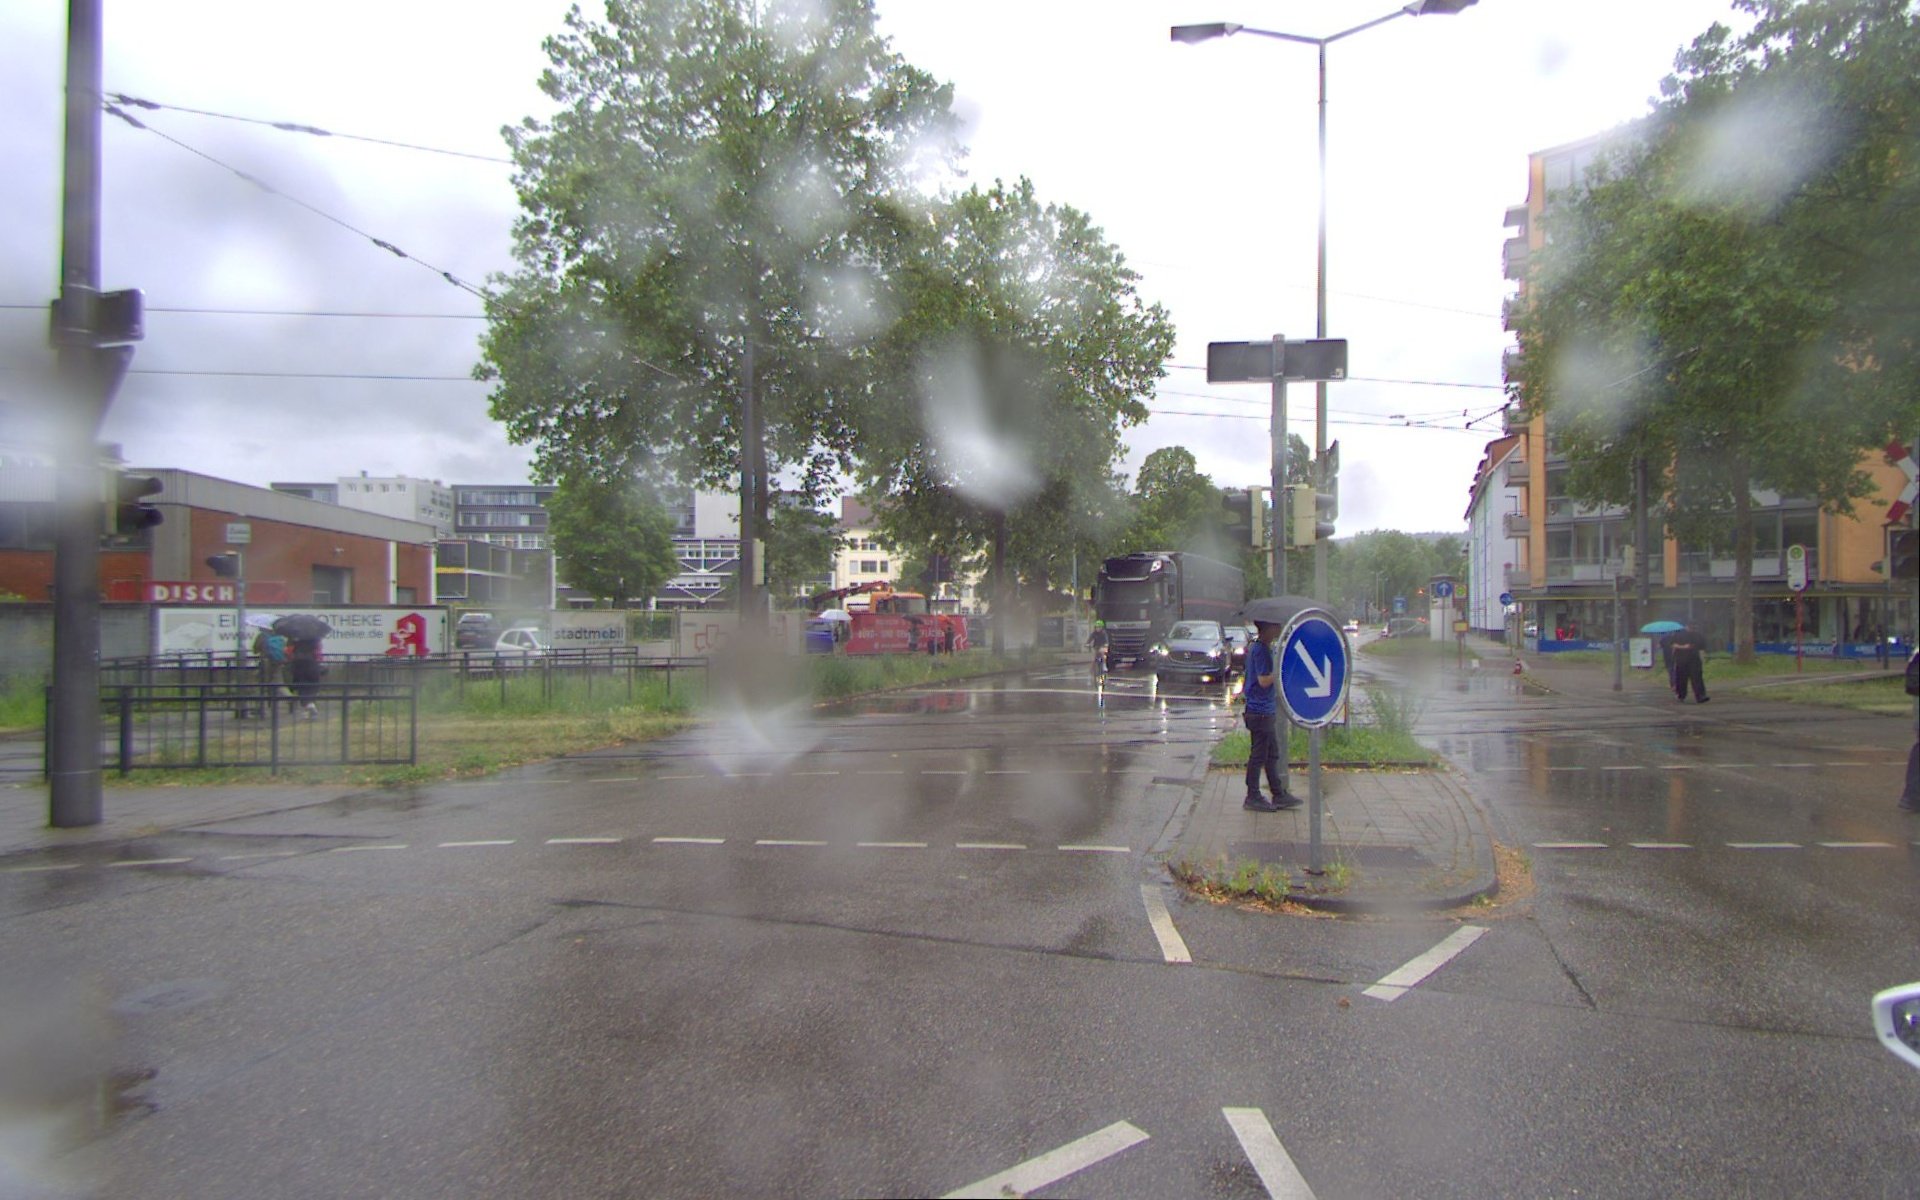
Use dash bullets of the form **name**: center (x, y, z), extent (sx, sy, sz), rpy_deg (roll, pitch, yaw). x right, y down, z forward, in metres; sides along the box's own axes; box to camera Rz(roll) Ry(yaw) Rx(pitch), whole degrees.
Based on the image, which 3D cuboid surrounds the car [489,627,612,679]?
- **car**: center (-11.984, 1.500, 29.331), extent (3.609, 1.339, 1.836), rpy_deg (0, -1, 39)

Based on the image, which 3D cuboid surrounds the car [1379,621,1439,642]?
- **car**: center (34.175, 2.413, 76.517), extent (4.123, 1.589, 1.888), rpy_deg (-1, -1, 23)

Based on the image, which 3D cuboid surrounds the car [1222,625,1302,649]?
- **car**: center (19.756, 2.398, 65.987), extent (2.063, 1.473, 4.885), rpy_deg (0, -1, -32)

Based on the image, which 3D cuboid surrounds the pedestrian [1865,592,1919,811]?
- **pedestrian**: center (8.359, 0.828, 8.333), extent (0.976, 1.805, 0.811), rpy_deg (-1, -1, -9)

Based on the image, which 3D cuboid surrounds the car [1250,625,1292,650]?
- **car**: center (18.671, 2.234, 60.208), extent (1.700, 1.379, 4.332), rpy_deg (-1, -1, 26)

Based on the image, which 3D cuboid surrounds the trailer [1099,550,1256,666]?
- **trailer**: center (9.825, 0.393, 43.205), extent (3.388, 4.102, 15.038), rpy_deg (-1, -1, 25)

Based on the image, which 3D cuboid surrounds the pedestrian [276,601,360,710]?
- **pedestrian**: center (-11.440, 0.971, 17.924), extent (0.937, 1.887, 0.849), rpy_deg (-1, -1, -2)

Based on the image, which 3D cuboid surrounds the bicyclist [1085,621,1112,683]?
- **bicyclist**: center (3.368, 1.247, 24.345), extent (0.569, 1.480, 1.012), rpy_deg (-1, -1, 12)

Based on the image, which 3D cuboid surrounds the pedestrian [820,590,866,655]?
- **pedestrian**: center (-3.618, 0.697, 31.104), extent (0.895, 1.990, 1.214), rpy_deg (-1, -1, 25)

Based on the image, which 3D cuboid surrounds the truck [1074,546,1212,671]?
- **truck**: center (6.896, 0.322, 36.854), extent (3.396, 4.133, 6.968), rpy_deg (0, -1, 25)

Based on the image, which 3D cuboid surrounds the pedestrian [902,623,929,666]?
- **pedestrian**: center (-1.606, 1.589, 36.197), extent (0.766, 1.535, 0.634), rpy_deg (0, -1, -43)

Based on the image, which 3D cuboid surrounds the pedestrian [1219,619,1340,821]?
- **pedestrian**: center (2.647, 0.972, 8.395), extent (0.846, 1.602, 0.643), rpy_deg (-1, -1, 8)

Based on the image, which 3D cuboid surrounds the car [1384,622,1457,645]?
- **car**: center (31.147, 2.261, 68.005), extent (4.462, 1.489, 1.982), rpy_deg (-1, -2, 25)

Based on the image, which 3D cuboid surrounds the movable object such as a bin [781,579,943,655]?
- **movable object such as a bin**: center (-4.187, 0.701, 42.288), extent (6.668, 2.969, 2.765), rpy_deg (0, -1, 36)

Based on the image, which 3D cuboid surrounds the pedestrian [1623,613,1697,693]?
- **pedestrian**: center (17.668, 1.316, 25.391), extent (1.151, 1.890, 1.385), rpy_deg (1, 2, 19)

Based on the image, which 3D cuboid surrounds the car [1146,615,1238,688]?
- **car**: center (6.721, 1.375, 28.690), extent (2.039, 1.705, 4.929), rpy_deg (2, 1, 19)

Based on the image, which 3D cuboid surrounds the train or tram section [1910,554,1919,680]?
- **train or tram section**: center (30.114, 0.486, 27.525), extent (8.250, 3.414, 2.634), rpy_deg (1, 0, -21)

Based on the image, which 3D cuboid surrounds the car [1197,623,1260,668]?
- **car**: center (9.354, 1.533, 34.830), extent (1.670, 1.391, 4.098), rpy_deg (0, -1, 21)

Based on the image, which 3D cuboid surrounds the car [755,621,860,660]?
- **car**: center (-5.734, 1.494, 37.655), extent (3.602, 1.339, 1.839), rpy_deg (0, -1, 33)

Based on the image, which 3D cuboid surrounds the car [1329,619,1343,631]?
- **car**: center (54.129, 3.624, 144.678), extent (1.746, 1.550, 4.000), rpy_deg (0, 1, 18)

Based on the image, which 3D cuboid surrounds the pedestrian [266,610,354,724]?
- **pedestrian**: center (-11.078, 1.125, 17.149), extent (0.937, 1.887, 0.849), rpy_deg (-1, -1, -2)

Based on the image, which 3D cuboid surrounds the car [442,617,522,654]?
- **car**: center (-24.394, 1.776, 51.480), extent (2.128, 1.764, 4.802), rpy_deg (0, -1, -5)

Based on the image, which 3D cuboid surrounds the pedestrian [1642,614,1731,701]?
- **pedestrian**: center (15.534, 1.197, 21.512), extent (1.017, 1.812, 1.237), rpy_deg (0, -1, 1)

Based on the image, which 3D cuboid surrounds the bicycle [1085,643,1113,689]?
- **bicycle**: center (3.388, 1.576, 24.378), extent (0.522, 1.038, 1.876), rpy_deg (-1, -1, 12)

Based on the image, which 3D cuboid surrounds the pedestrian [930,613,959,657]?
- **pedestrian**: center (-0.597, 1.320, 38.072), extent (0.894, 1.671, 0.750), rpy_deg (0, -1, -21)

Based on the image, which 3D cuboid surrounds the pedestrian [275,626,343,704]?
- **pedestrian**: center (-13.221, 1.305, 20.421), extent (0.813, 1.524, 0.849), rpy_deg (-1, -1, -2)
